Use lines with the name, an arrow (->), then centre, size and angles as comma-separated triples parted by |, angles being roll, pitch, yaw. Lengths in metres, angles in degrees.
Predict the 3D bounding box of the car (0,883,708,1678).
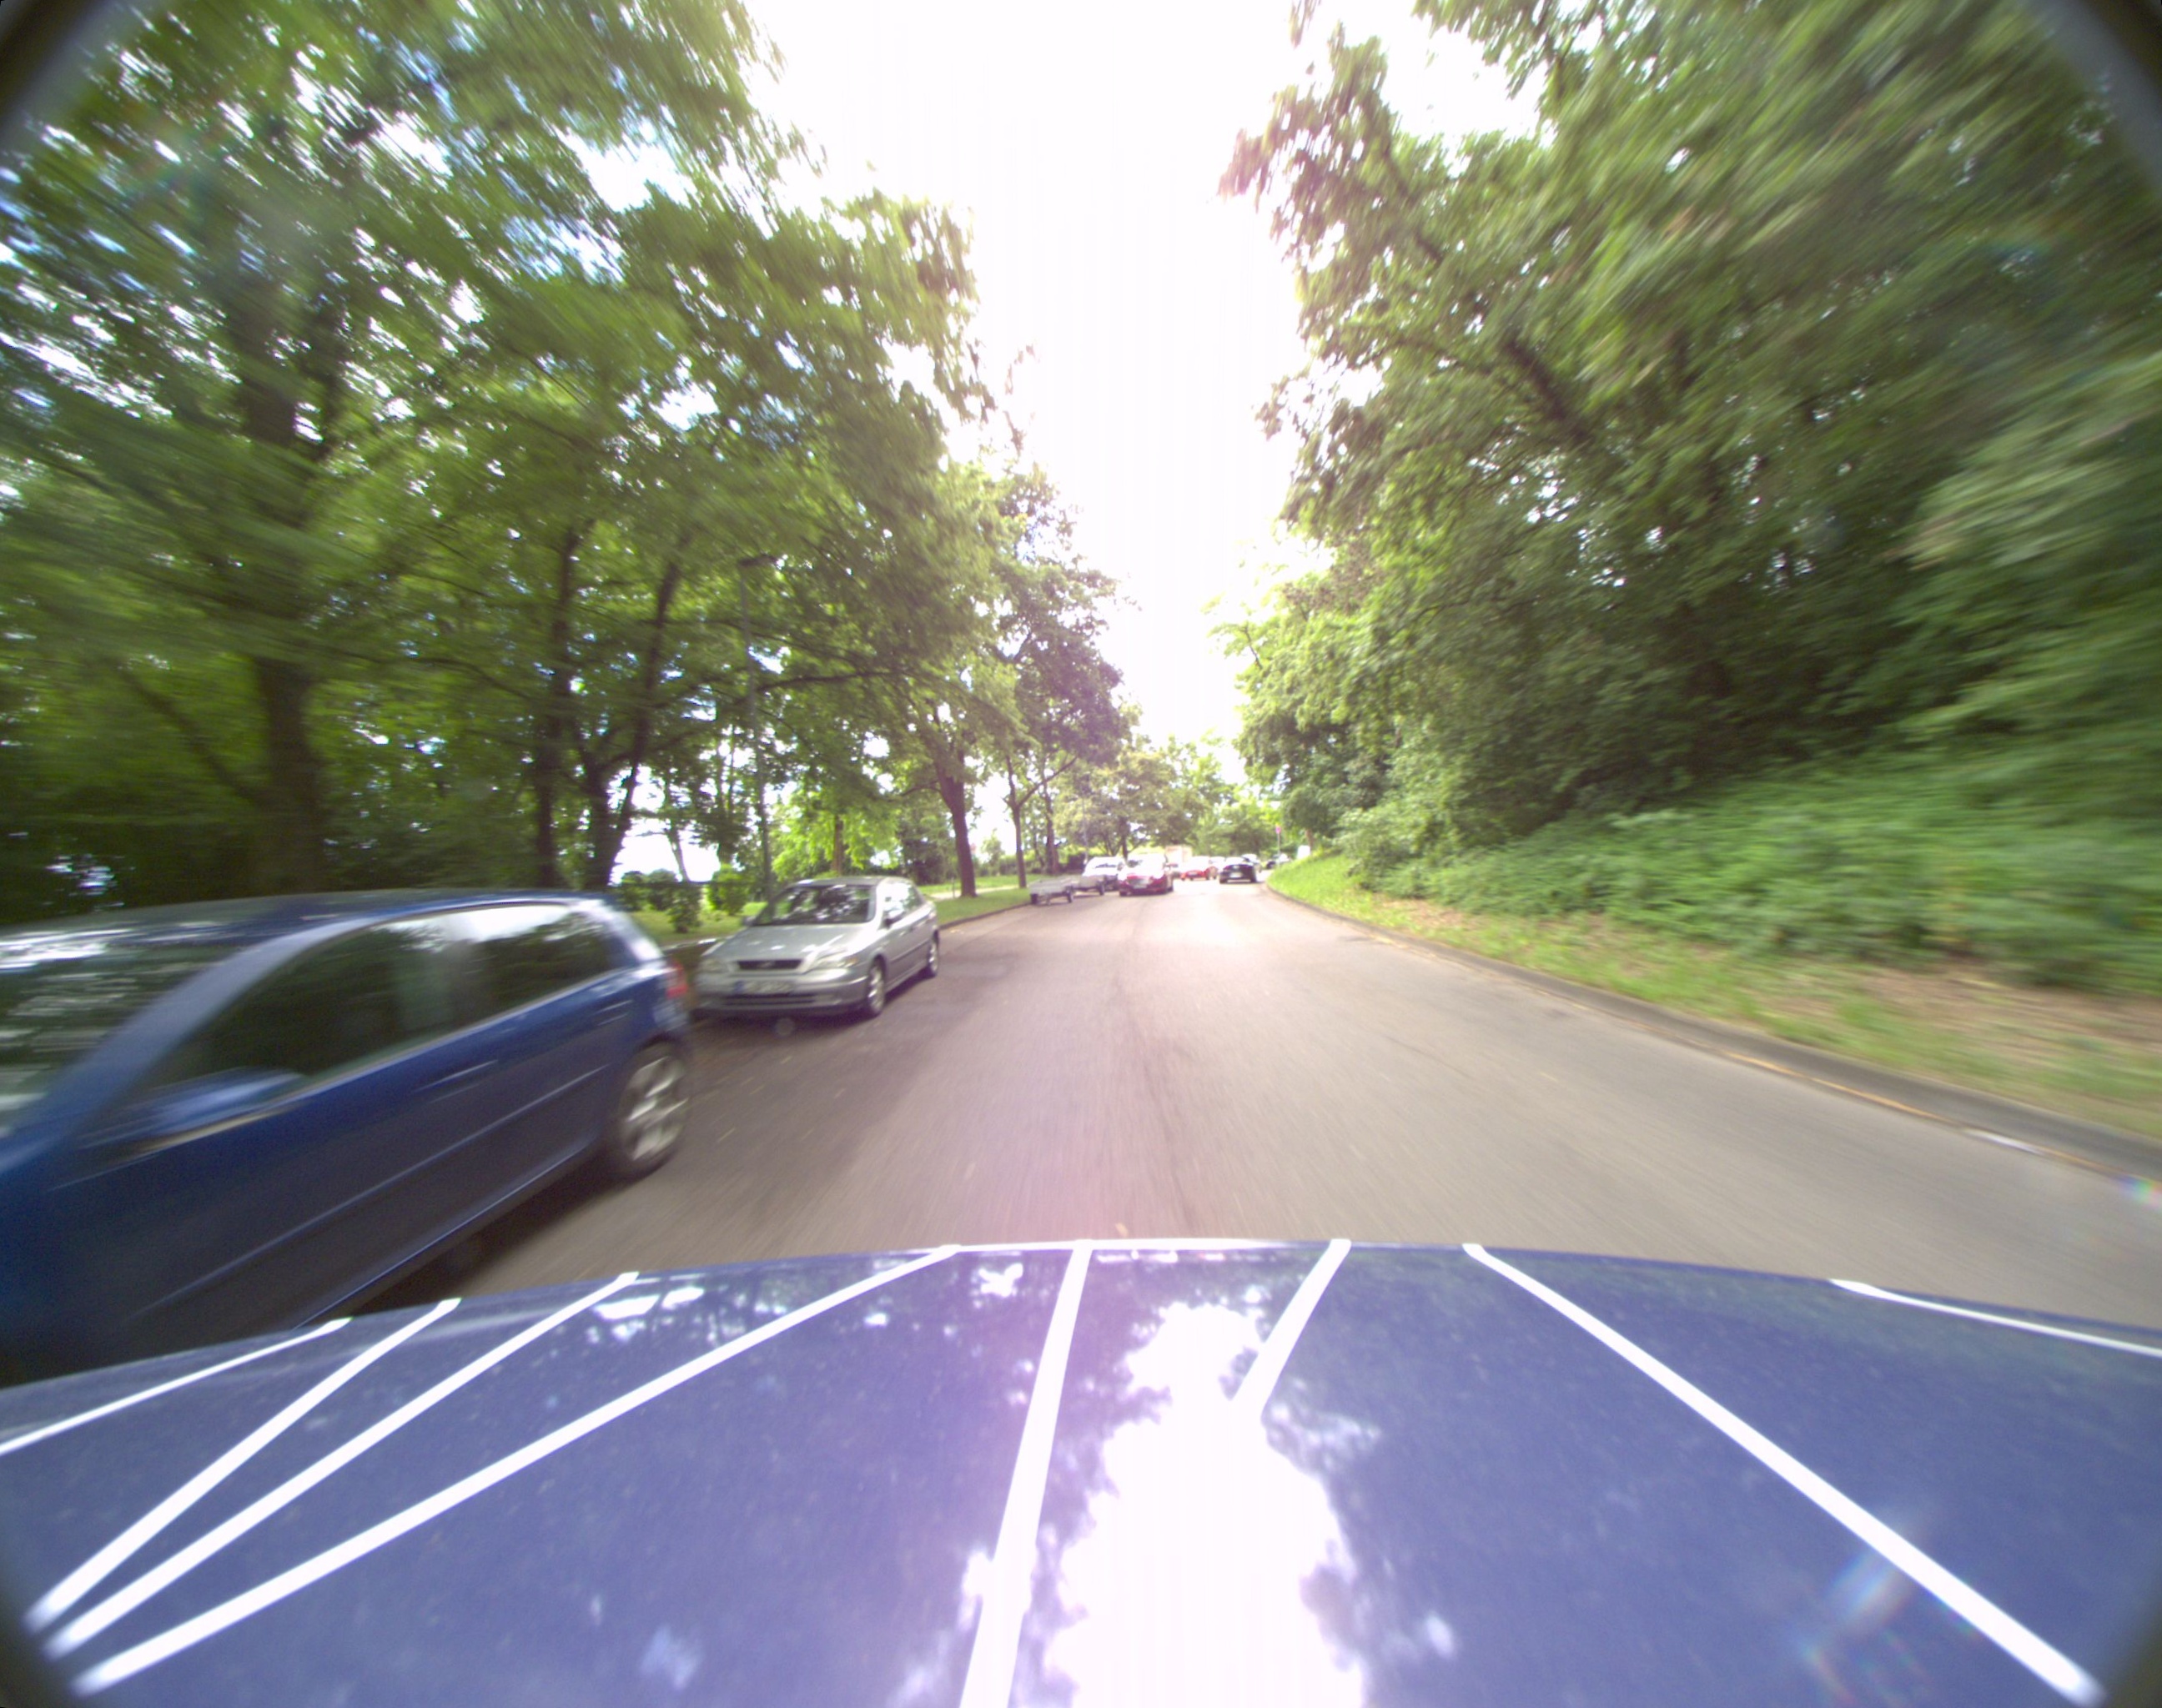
car -> -3.124, 1.005, 2.330 | 1.718, 1.501, 4.181 | -5, 1, 1

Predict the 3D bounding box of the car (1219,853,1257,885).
car -> 8.320, 0.744, 40.520 | 1.794, 1.381, 4.494 | -4, 1, 10

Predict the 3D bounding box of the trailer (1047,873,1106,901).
trailer -> -0.123, 1.347, 31.640 | 1.359, 0.963, 3.897 | -4, -1, 16

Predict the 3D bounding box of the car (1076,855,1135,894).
car -> 1.303, 0.948, 37.577 | 1.778, 1.652, 4.845 | -4, 0, 14

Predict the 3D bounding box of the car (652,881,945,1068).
car -> -2.867, 1.149, 8.729 | 1.721, 1.423, 3.949 | -2, 1, 2

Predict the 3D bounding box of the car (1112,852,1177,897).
car -> 2.710, 0.800, 31.380 | 1.997, 1.618, 4.630 | -4, -1, 12

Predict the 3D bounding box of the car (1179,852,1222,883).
car -> 7.443, 0.798, 47.073 | 1.864, 1.441, 4.178 | 0, 5, 20

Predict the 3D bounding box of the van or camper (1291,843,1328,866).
van or camper -> 28.067, 0.035, 93.192 | 2.163, 2.521, 6.043 | -4, -1, 37

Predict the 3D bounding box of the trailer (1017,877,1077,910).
trailer -> -1.135, 1.356, 26.944 | 1.366, 0.843, 3.280 | -4, 1, 11

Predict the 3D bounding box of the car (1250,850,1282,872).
car -> 15.983, 0.548, 65.522 | 1.919, 1.671, 4.006 | -2, 2, 25

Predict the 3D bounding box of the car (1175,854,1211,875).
car -> 9.043, 0.853, 61.030 | 1.743, 1.516, 4.642 | -2, 0, 22

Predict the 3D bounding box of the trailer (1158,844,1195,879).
trailer -> 7.058, 0.517, 55.942 | 1.762, 2.412, 3.893 | -2, 0, 22
